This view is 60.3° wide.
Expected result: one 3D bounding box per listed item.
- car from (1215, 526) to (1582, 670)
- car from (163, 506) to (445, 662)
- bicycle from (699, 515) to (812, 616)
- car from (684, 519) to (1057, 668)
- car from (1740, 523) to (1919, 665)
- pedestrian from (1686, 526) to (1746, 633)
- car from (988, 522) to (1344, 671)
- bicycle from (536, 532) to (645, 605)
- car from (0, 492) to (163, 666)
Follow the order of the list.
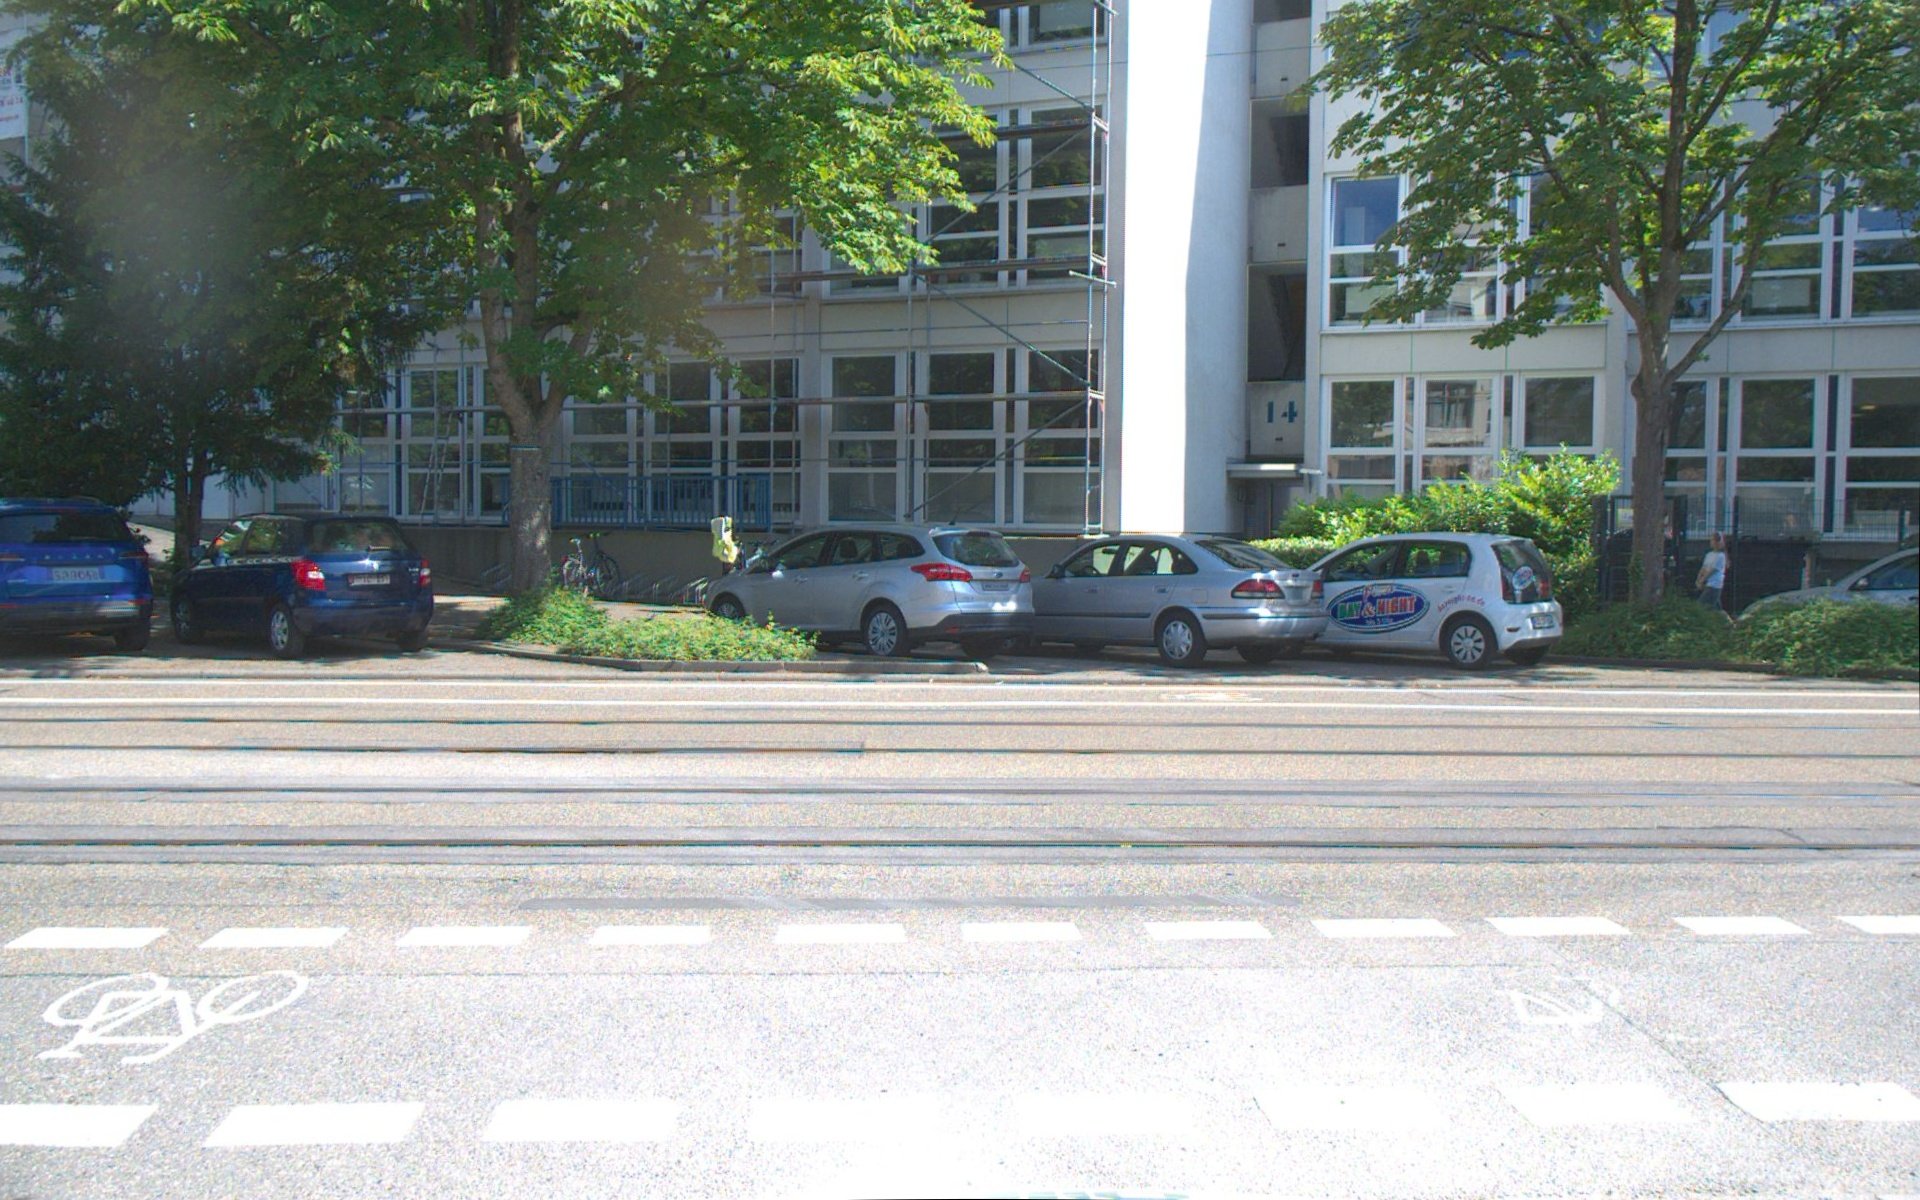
[{"bbox_3d":[5.021,-0.086,19.264,3.877,1.512,1.603,2,2,44],"label":"car"},{"bbox_3d":[-7.283,-0.248,18.248,3.397,1.557,1.567,3,3,42],"label":"car"},{"bbox_3d":[-3.121,-0.550,25.463,0.648,1.478,2.088,2,3,28],"label":"bicycle"},{"bbox_3d":[-1.128,-0.163,19.074,4.358,1.511,1.774,3,3,42],"label":"car"},{"bbox_3d":[11.704,-0.075,19.515,4.264,1.632,1.551,2,2,40],"label":"car"},{"bbox_3d":[10.554,-0.290,23.089,0.608,1.486,0.424,0,2,-5],"label":"pedestrian"},{"bbox_3d":[2.265,-0.119,18.890,3.879,1.511,1.602,3,3,44],"label":"car"},{"bbox_3d":[-5.832,-0.521,26.253,0.725,1.104,2.205,1,3,15],"label":"bicycle"},{"bbox_3d":[-10.294,-0.325,18.083,1.767,1.650,3.884,-3,6,-43],"label":"car"}]
